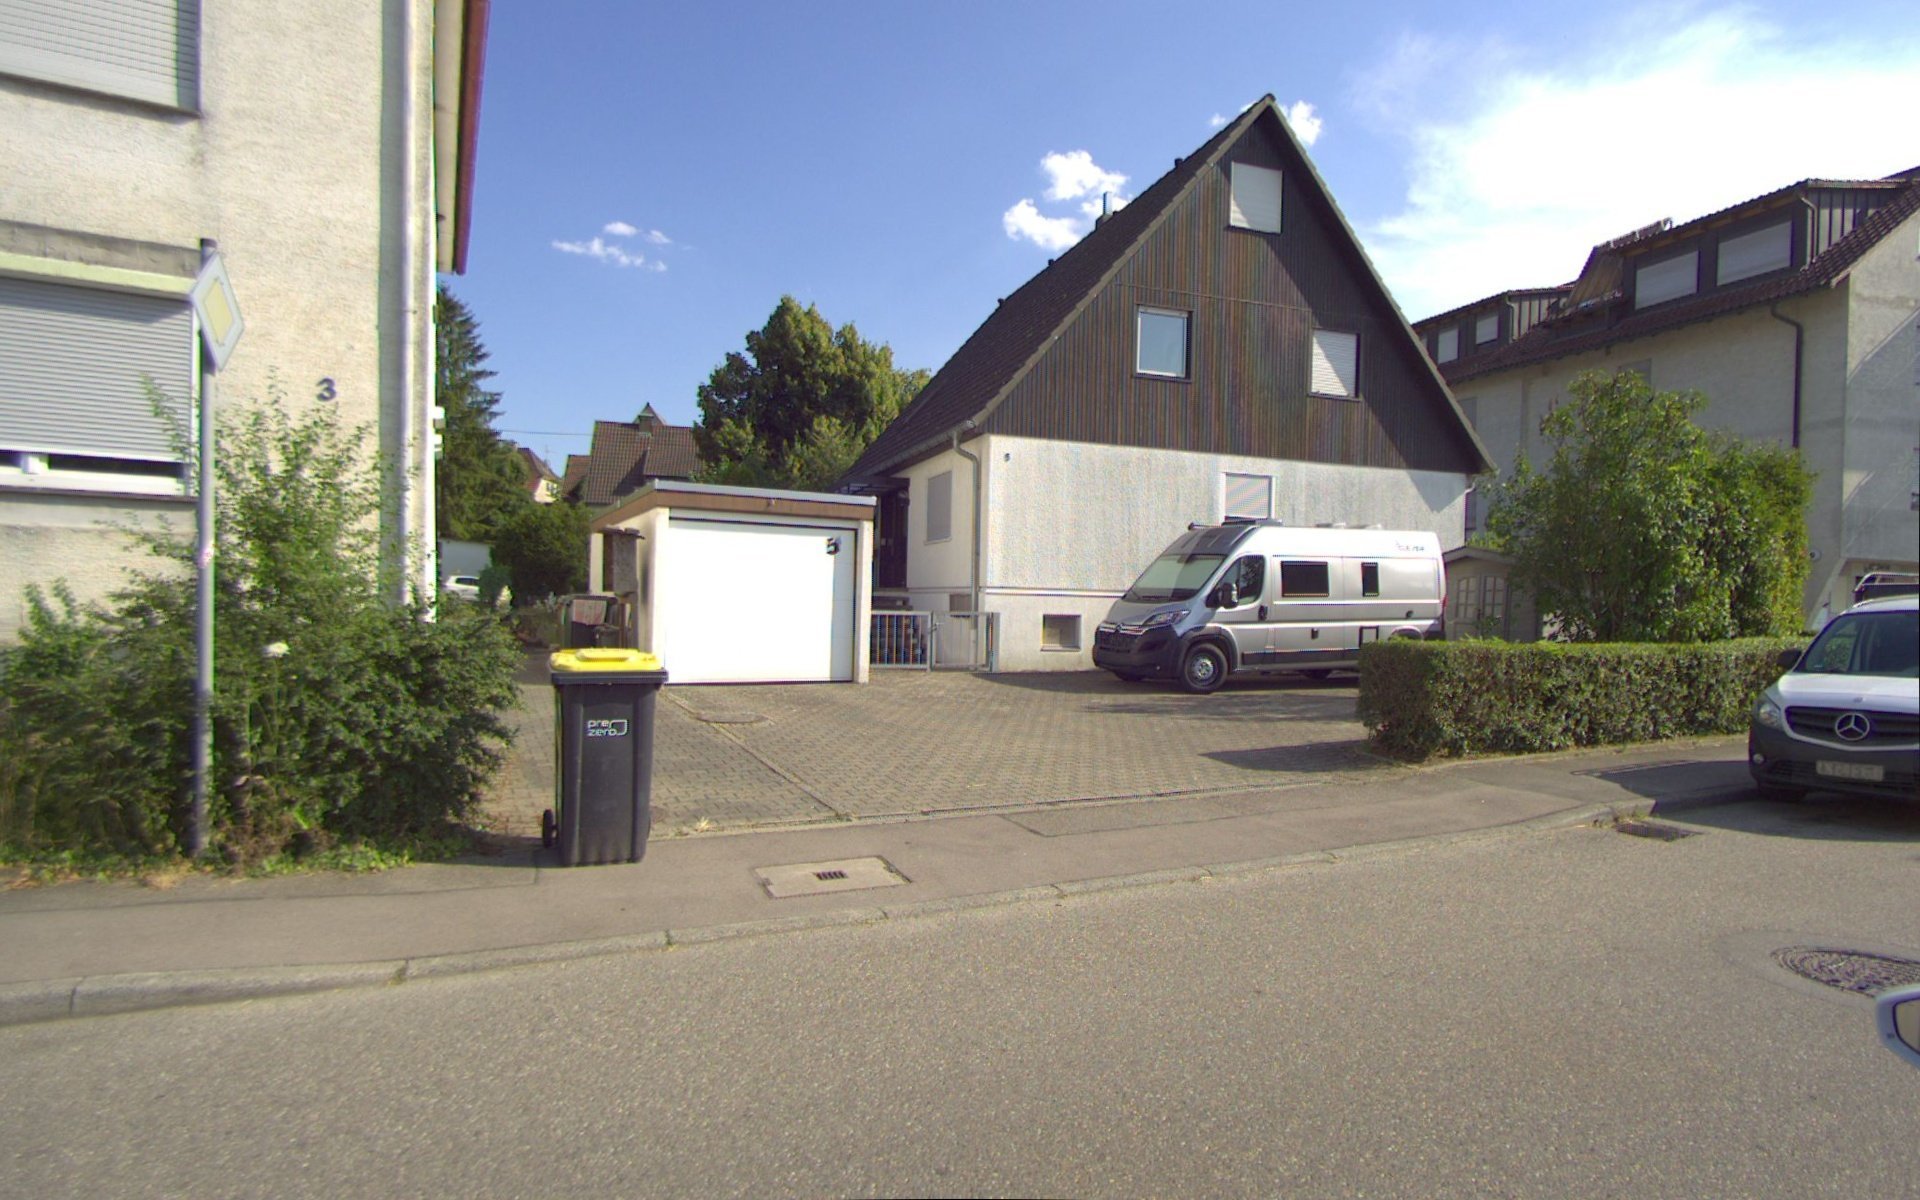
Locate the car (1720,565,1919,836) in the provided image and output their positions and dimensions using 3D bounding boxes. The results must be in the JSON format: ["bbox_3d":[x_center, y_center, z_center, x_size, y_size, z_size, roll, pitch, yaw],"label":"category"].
[{"bbox_3d":[8.358,0.735,8.399,4.141,1.897,1.709,1,-1,-29],"label":"car"}]

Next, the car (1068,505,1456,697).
[{"bbox_3d":[4.865,0.024,16.006,6.012,2.631,2.151,1,1,-26],"label":"car"}]

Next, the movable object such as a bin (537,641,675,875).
[{"bbox_3d":[-1.895,0.801,5.355,0.569,1.116,0.608,2,1,-29],"label":"movable object such as a bin"}]

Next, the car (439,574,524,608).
[{"bbox_3d":[-25.620,-0.458,53.909,3.941,1.730,1.990,1,0,-22],"label":"car"}]

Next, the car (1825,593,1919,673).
[{"bbox_3d":[21.123,0.785,21.172,1.735,1.559,3.983,1,5,-18],"label":"car"}]
